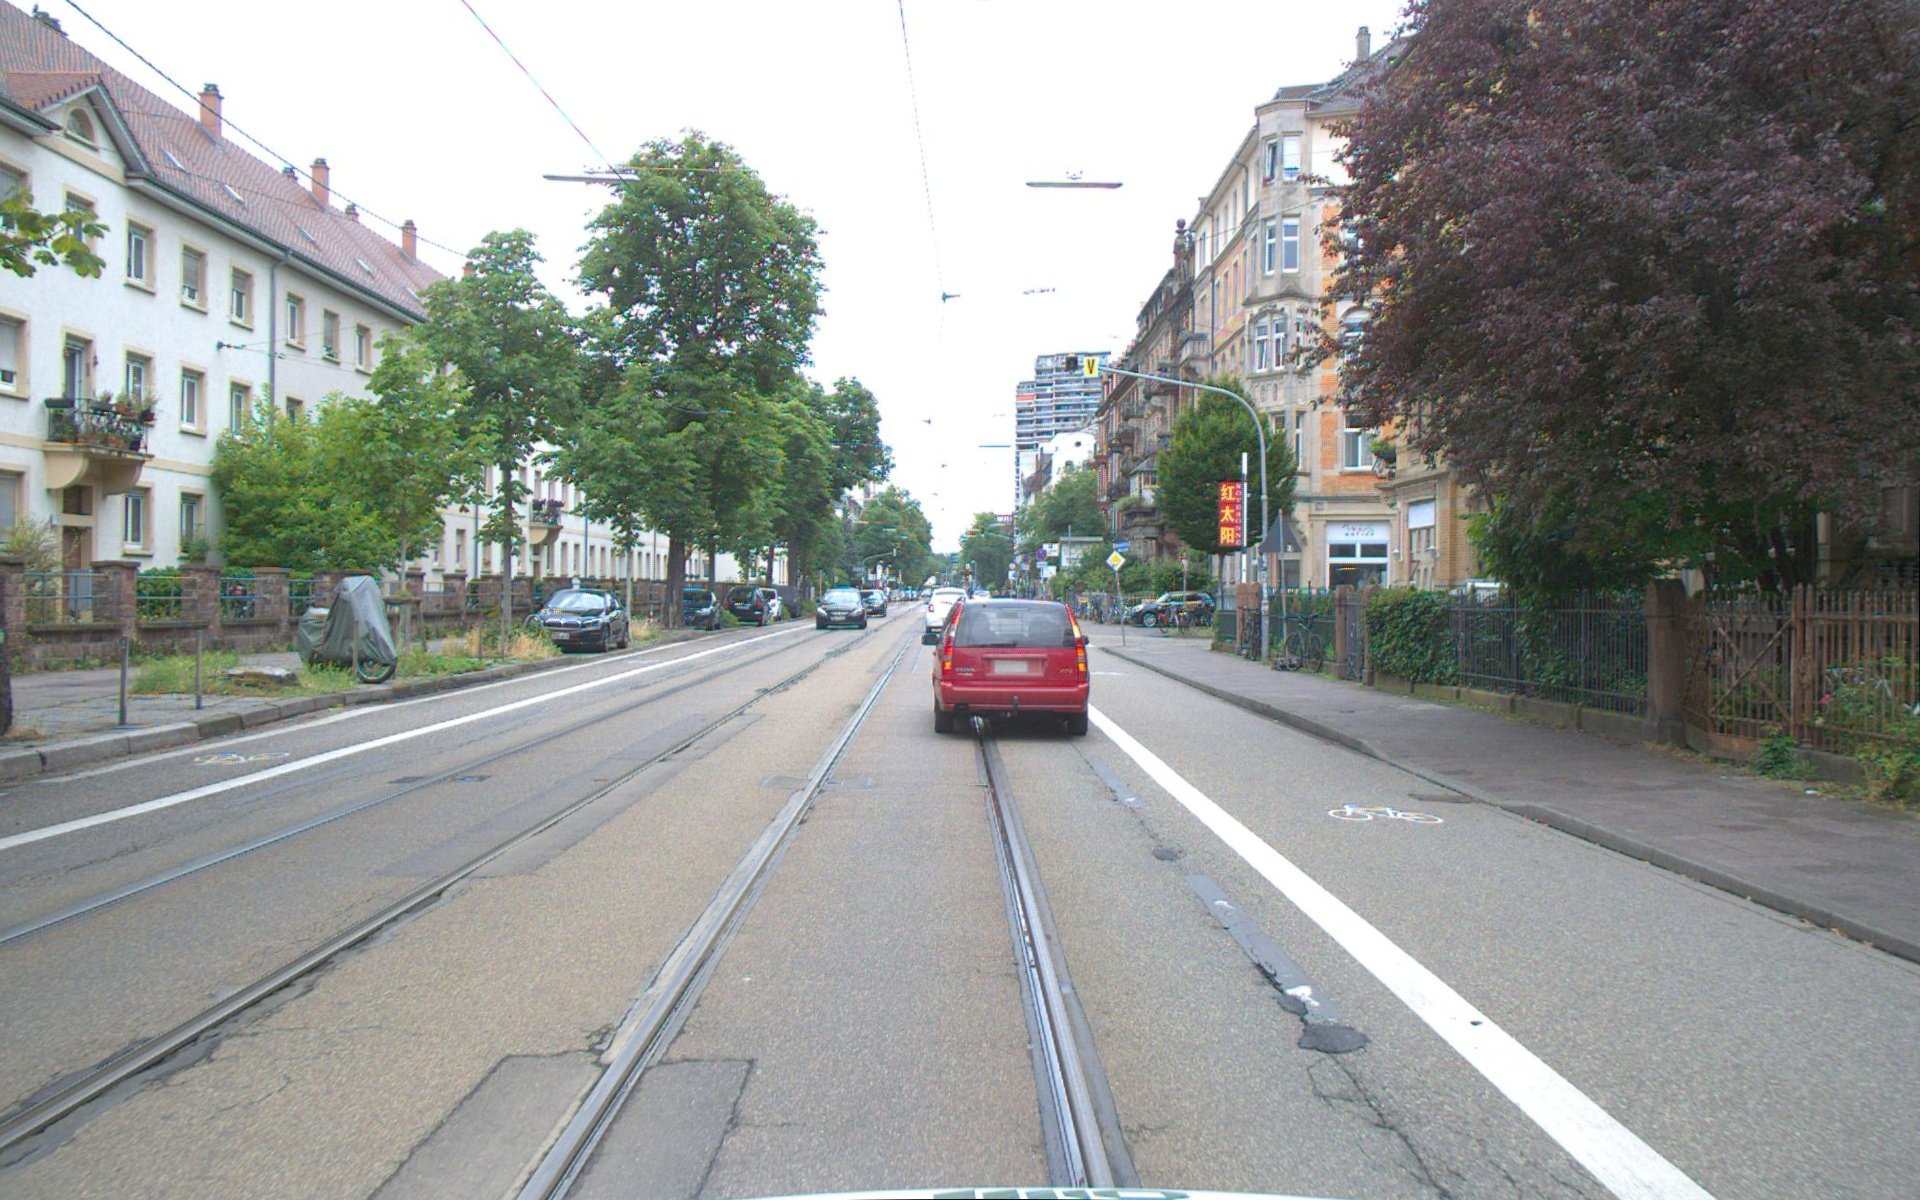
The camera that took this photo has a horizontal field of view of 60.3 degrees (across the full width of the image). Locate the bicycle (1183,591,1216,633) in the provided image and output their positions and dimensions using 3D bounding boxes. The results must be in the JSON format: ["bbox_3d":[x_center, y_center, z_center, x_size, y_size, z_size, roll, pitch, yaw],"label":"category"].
[{"bbox_3d":[9.093,0.447,62.812,0.898,1.533,2.382,1,0,16],"label":"bicycle"}]

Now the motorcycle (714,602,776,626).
[{"bbox_3d":[-9.844,0.643,75.764,2.815,1.095,1.098,0,0,-7],"label":"motorcycle"}]

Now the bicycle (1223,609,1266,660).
[{"bbox_3d":[6.131,0.726,35.701,0.512,1.048,2.176,0,0,-1],"label":"bicycle"}]

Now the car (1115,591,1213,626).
[{"bbox_3d":[8.338,0.318,67.456,3.902,1.385,1.894,0,0,10],"label":"car"}]

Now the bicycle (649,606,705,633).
[{"bbox_3d":[-9.381,0.655,54.798,1.713,0.858,0.684,1,0,0],"label":"bicycle"}]

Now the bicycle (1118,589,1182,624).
[{"bbox_3d":[9.093,0.313,79.250,2.916,1.653,1.049,1,0,-3],"label":"bicycle"}]

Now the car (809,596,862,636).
[{"bbox_3d":[-4.582,0.574,61.373,1.720,1.404,4.026,0,0,-1],"label":"car"}]

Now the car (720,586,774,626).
[{"bbox_3d":[-8.953,0.240,69.752,1.813,1.590,3.942,1,0,-1],"label":"car"}]

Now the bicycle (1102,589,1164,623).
[{"bbox_3d":[8.569,0.289,81.864,2.916,1.653,1.049,1,0,-3],"label":"bicycle"}]

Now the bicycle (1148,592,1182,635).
[{"bbox_3d":[7.676,0.488,61.814,0.898,1.533,2.382,1,0,16],"label":"bicycle"}]

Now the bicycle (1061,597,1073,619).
[{"bbox_3d":[5.612,0.423,86.738,0.480,1.118,1.734,0,0,0],"label":"bicycle"}]

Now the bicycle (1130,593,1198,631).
[{"bbox_3d":[9.204,0.529,74.736,2.916,1.653,1.049,1,0,-3],"label":"bicycle"}]

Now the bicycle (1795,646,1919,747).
[{"bbox_3d":[8.485,0.865,14.952,1.582,0.879,0.555,0,0,7],"label":"bicycle"}]

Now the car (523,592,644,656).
[{"bbox_3d":[-8.973,0.537,39.765,1.851,1.422,4.417,1,0,0],"label":"car"}]

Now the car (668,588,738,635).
[{"bbox_3d":[-8.726,0.364,56.493,1.682,1.508,4.001,1,0,1],"label":"car"}]

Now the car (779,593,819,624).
[{"bbox_3d":[-8.290,0.414,85.257,1.685,1.512,4.000,0,0,0],"label":"car"}]

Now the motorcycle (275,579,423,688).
[{"bbox_3d":[-9.084,0.480,24.559,2.226,1.538,0.923,1,-1,35],"label":"motorcycle"}]

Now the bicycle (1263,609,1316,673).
[{"bbox_3d":[6.103,0.739,30.745,0.512,1.119,2.176,0,0,-1],"label":"bicycle"}]

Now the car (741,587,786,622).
[{"bbox_3d":[-9.610,0.189,81.018,1.678,1.608,4.000,2,0,0],"label":"car"}]

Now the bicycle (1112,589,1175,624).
[{"bbox_3d":[8.922,0.303,80.512,2.916,1.653,1.049,1,0,-3],"label":"bicycle"}]

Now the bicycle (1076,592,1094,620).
[{"bbox_3d":[5.931,0.281,78.281,0.694,1.323,1.904,0,0,0],"label":"bicycle"}]

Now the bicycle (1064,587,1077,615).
[{"bbox_3d":[6.067,0.032,91.073,0.544,1.483,2.985,1,0,1],"label":"bicycle"}]

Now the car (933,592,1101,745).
[{"bbox_3d":[0.552,0.682,18.464,1.654,1.466,3.742,2,1,-1],"label":"car"}]

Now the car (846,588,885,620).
[{"bbox_3d":[-5.020,0.212,88.324,1.855,1.639,4.499,1,0,-1],"label":"car"}]

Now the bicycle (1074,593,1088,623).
[{"bbox_3d":[5.941,0.383,81.226,0.540,1.424,1.734,0,0,0],"label":"bicycle"}]

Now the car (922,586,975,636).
[{"bbox_3d":[-0.375,0.354,57.512,1.683,1.653,3.942,1,0,1],"label":"car"}]
